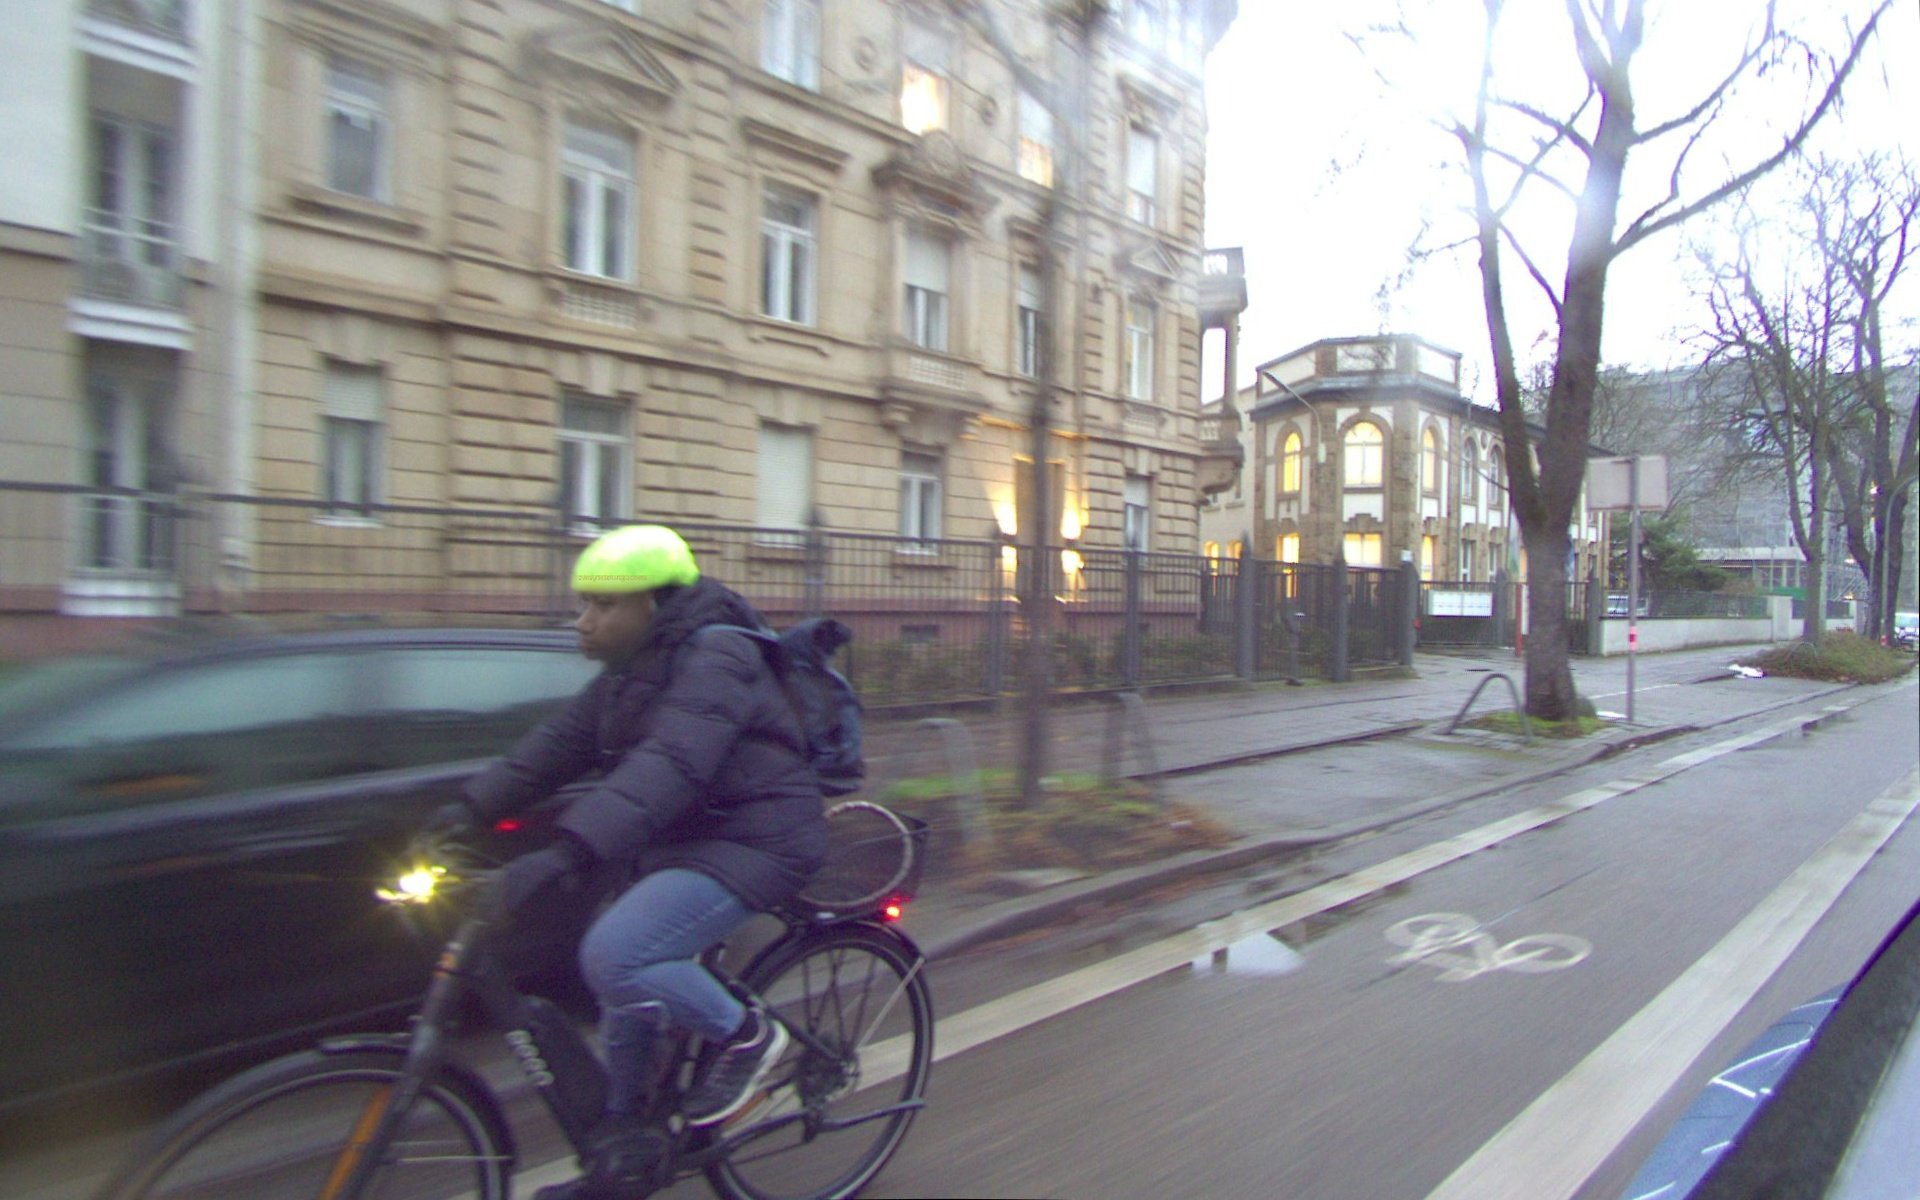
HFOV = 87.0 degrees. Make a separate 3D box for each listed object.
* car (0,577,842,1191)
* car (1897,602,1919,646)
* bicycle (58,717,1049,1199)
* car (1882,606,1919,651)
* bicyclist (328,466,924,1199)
[{"bbox_3d":[-2.605,0.698,3.464,4.086,1.463,1.760,1,2,-42],"label":"car"},{"bbox_3d":[39.776,0.957,41.346,3.934,1.703,1.995,0,0,-44],"label":"car"},{"bbox_3d":[-0.690,0.919,2.234,0.717,1.126,1.910,-1,-2,45],"label":"bicycle"},{"bbox_3d":[32.672,0.940,34.508,3.934,1.425,1.625,0,0,-44],"label":"car"},{"bbox_3d":[-0.702,0.635,2.231,1.039,1.684,0.717,1,-2,-45],"label":"bicyclist"}]
